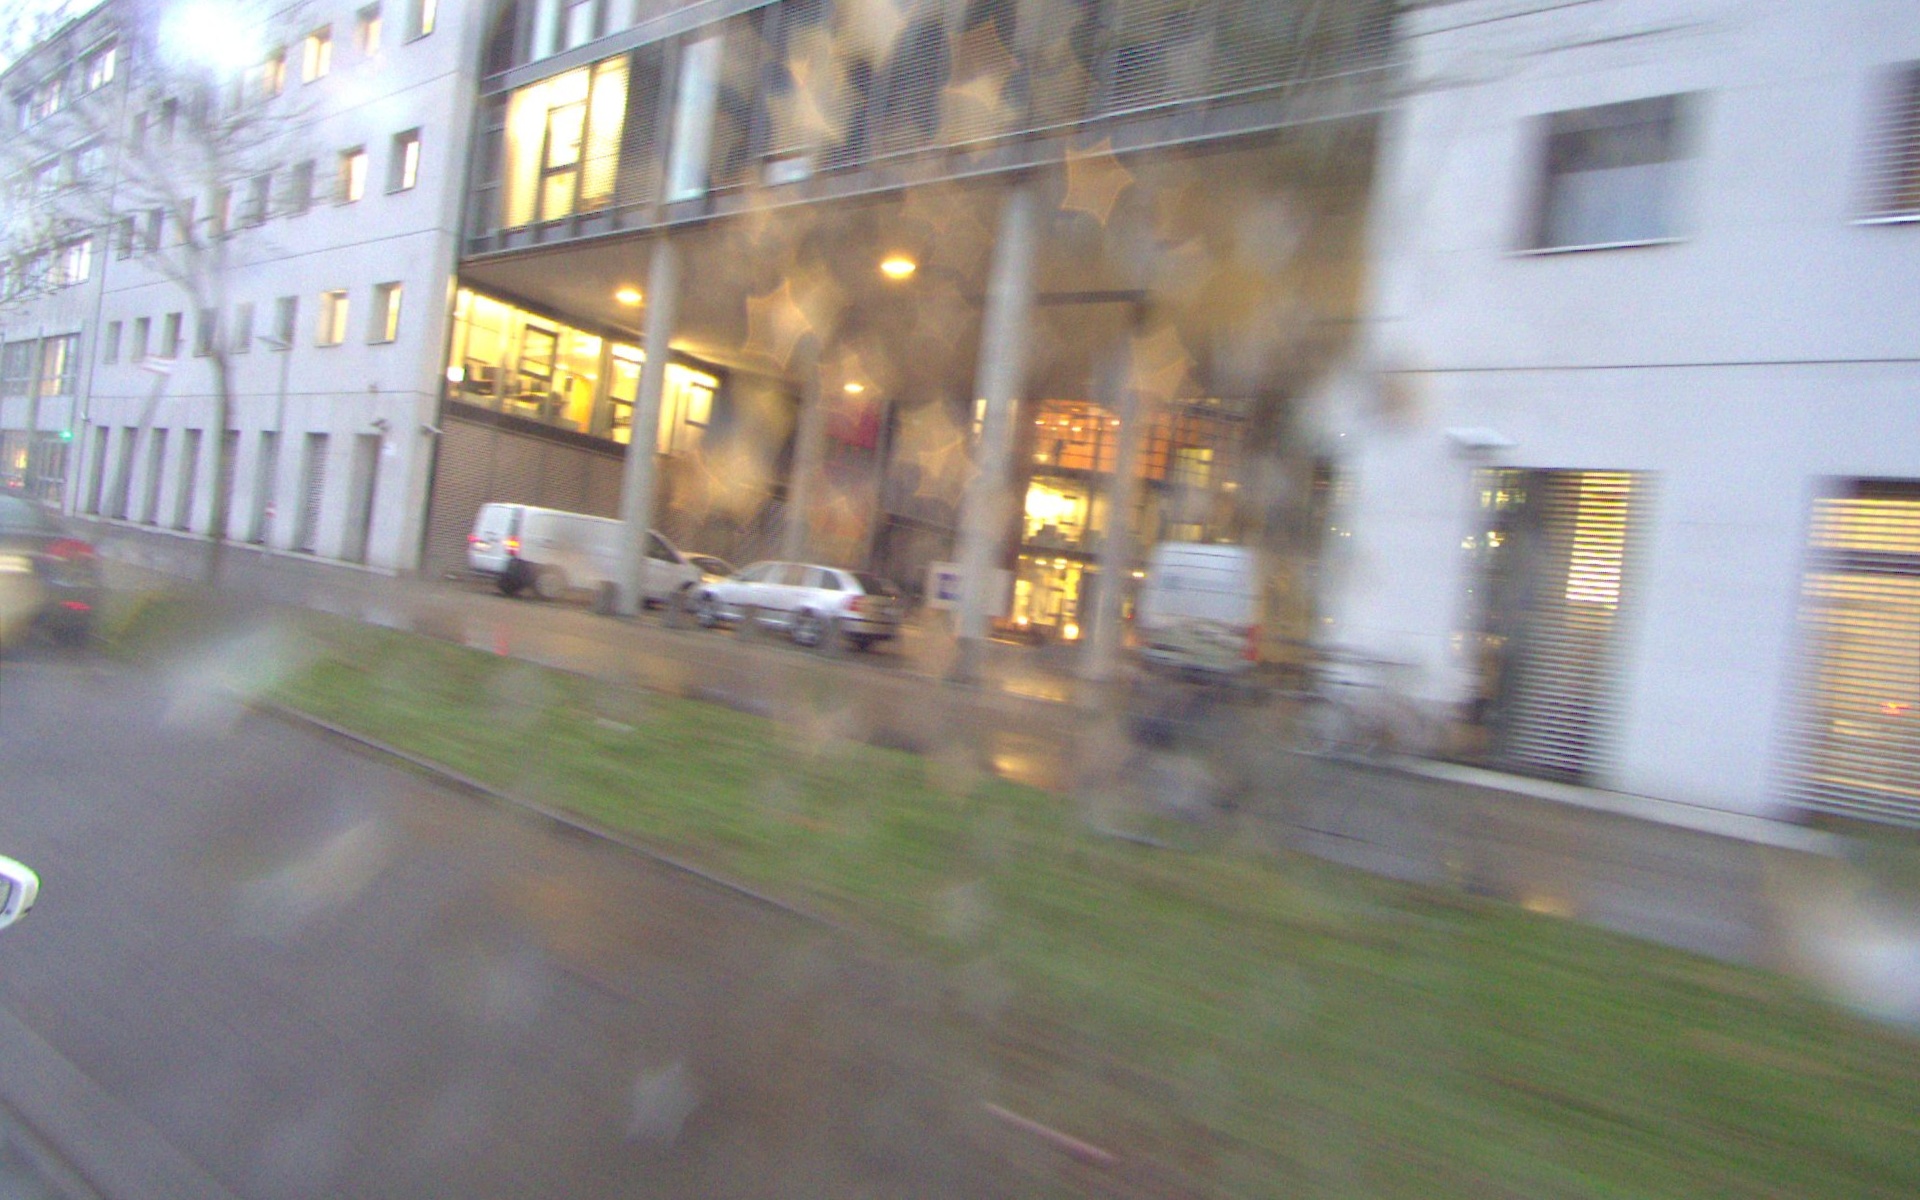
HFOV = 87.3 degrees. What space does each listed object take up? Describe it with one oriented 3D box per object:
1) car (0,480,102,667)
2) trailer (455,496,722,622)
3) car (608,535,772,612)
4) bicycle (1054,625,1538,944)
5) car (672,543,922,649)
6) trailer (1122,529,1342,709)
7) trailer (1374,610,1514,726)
[{"bbox_3d":[-9.523,-0.433,9.025,4.161,1.457,1.598,6,-2,34],"label":"car"},{"bbox_3d":[-8.133,-0.838,22.468,2.098,1.934,5.066,9,0,39],"label":"trailer"},{"bbox_3d":[-7.279,-0.693,27.426,1.634,1.537,3.982,8,1,41],"label":"car"},{"bbox_3d":[1.593,0.805,5.036,2.131,1.129,0.550,6,1,34],"label":"bicycle"},{"bbox_3d":[-3.058,-0.102,18.540,4.455,1.386,1.635,6,-2,32],"label":"car"},{"bbox_3d":[5.294,0.478,18.729,2.172,2.612,6.268,8,0,30],"label":"trailer"},{"bbox_3d":[10.146,1.447,20.932,1.861,1.973,3.990,8,0,34],"label":"trailer"}]
